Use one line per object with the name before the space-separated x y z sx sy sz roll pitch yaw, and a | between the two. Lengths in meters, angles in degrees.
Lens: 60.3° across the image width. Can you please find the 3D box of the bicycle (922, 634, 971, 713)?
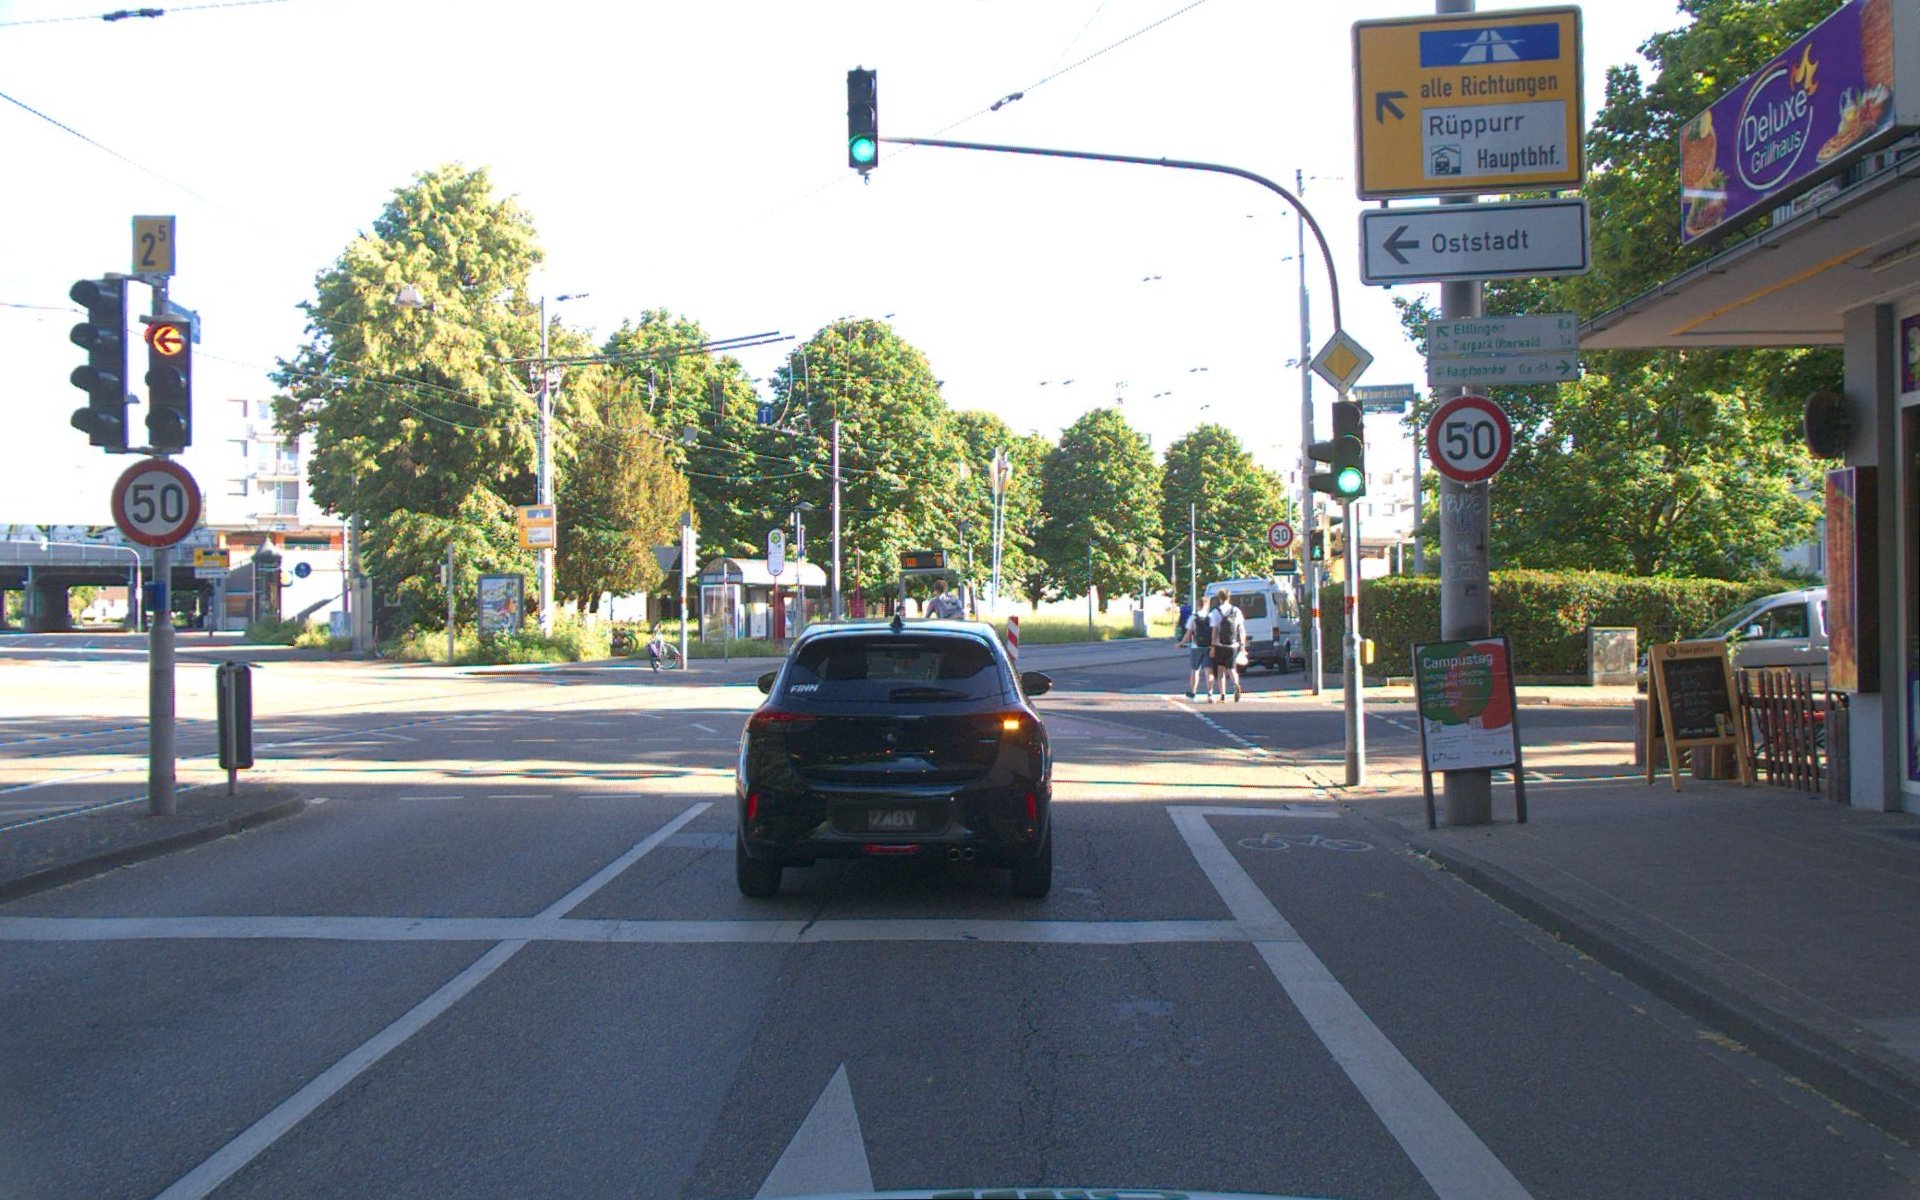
bicycle | -0.217 1.066 24.524 0.654 1.078 2.081 0 0 -2

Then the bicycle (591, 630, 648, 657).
bicycle | -11.929 1.526 57.940 1.837 0.922 0.660 -1 -1 5

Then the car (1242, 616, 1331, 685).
car | 9.020 1.348 45.526 1.763 1.794 3.891 -1 -1 21

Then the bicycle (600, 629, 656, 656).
bicycle | -11.815 1.515 58.815 1.837 0.922 0.660 -1 -1 5

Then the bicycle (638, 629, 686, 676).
bicycle | -7.181 1.257 39.928 0.808 1.078 1.883 -1 0 0

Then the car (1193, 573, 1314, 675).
car | 7.138 0.602 39.888 2.047 2.317 4.305 0 -2 22

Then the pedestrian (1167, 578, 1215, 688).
pedestrian | 3.888 0.548 27.911 0.684 1.823 0.617 -1 -1 -2

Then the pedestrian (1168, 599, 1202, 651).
pedestrian | 8.007 0.883 58.871 0.939 1.824 0.995 -1 -1 24

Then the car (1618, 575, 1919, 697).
car | 12.927 0.618 26.461 4.087 1.846 1.807 -1 -4 6

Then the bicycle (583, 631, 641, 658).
bicycle | -11.987 1.524 56.952 1.837 0.922 0.660 -1 -1 5

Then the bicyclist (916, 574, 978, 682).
bicyclist | -0.202 0.407 24.473 0.823 1.536 1.367 0 -1 -4

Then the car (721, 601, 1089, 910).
car | -0.282 0.763 9.964 1.764 1.466 3.939 -1 0 -1

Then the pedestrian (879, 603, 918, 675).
pedestrian | -1.473 0.928 39.882 0.710 1.723 0.701 -1 -1 20

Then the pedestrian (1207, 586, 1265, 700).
pedestrian | 4.595 0.708 27.539 0.691 1.879 0.698 -1 -1 38
